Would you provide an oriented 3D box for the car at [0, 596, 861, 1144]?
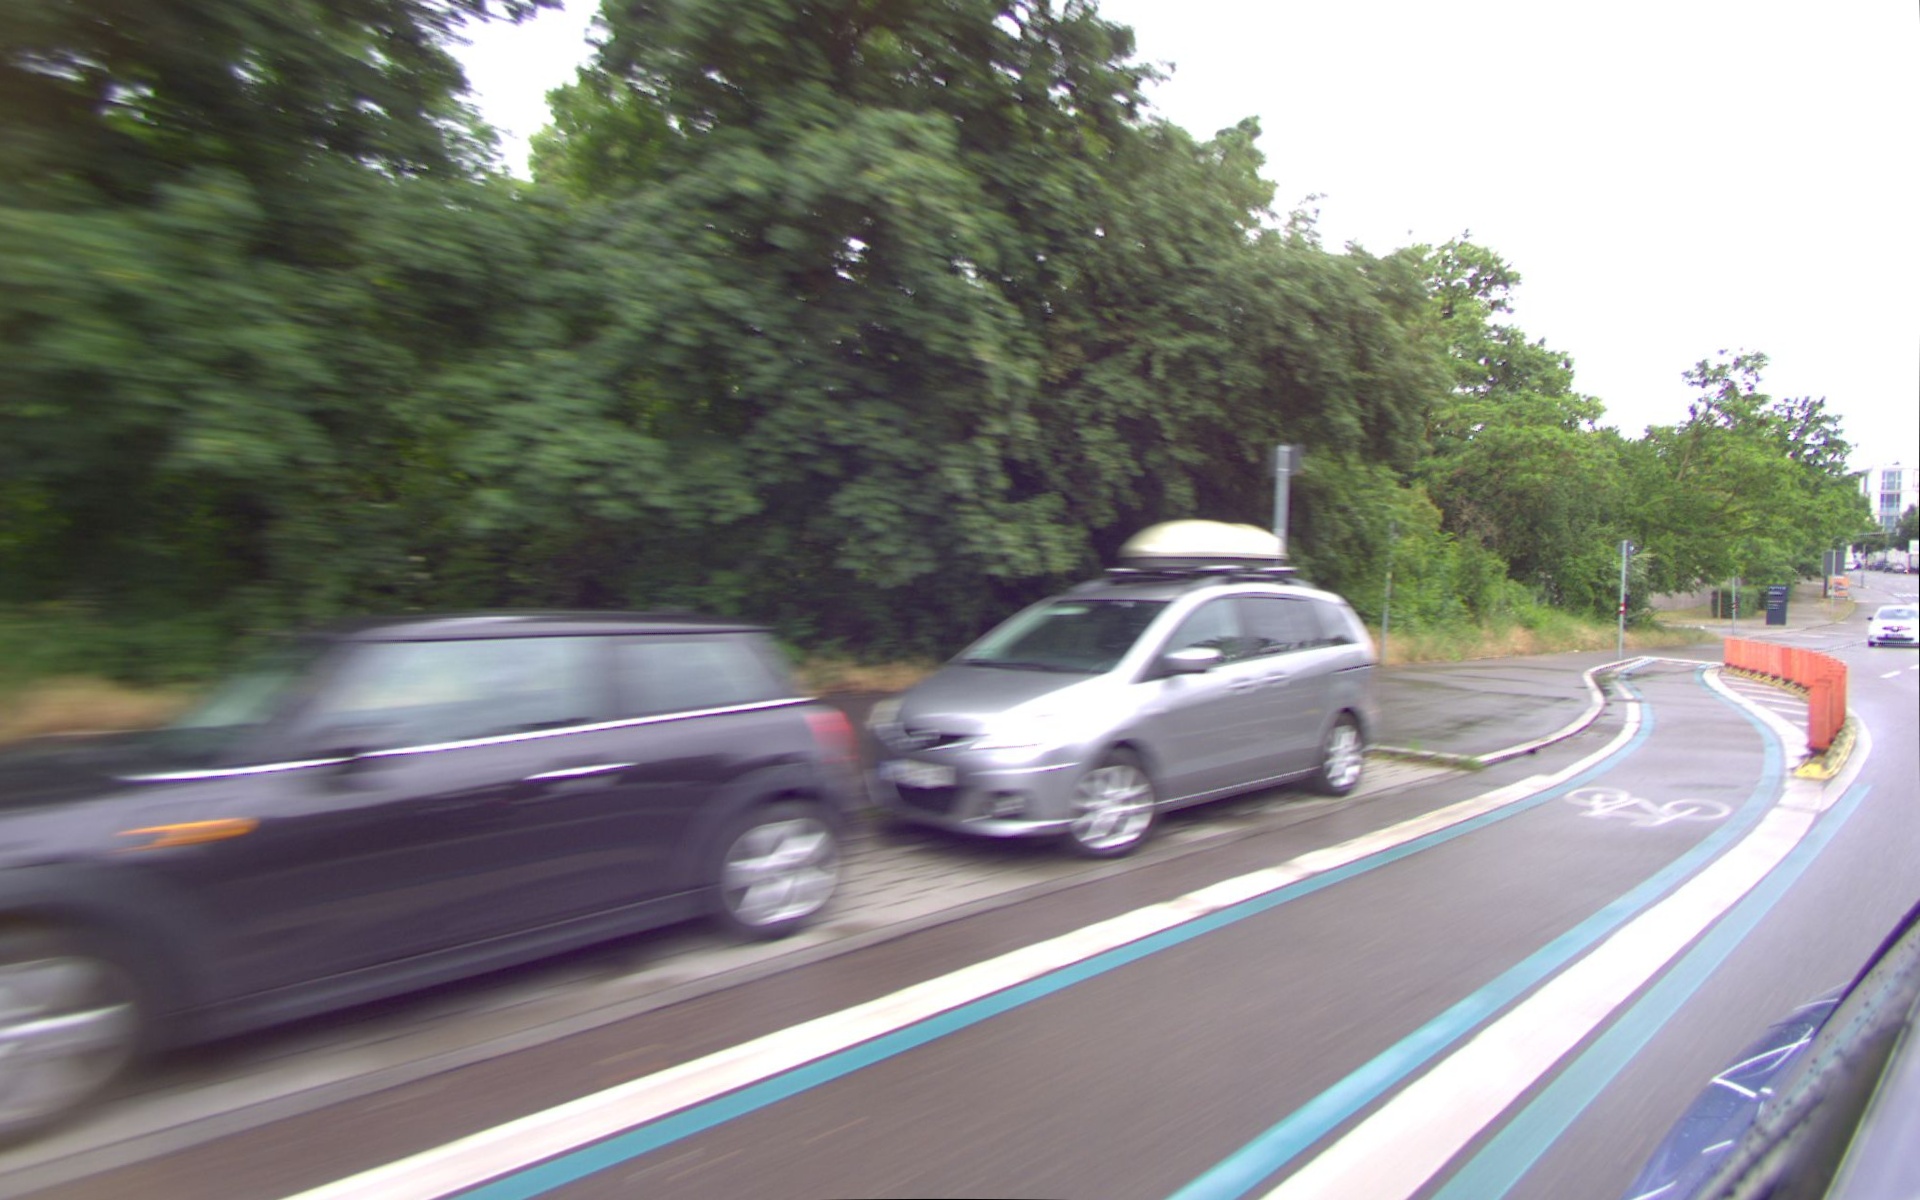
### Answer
[{"bbox_3d":[-2.348,0.709,3.974,3.641,1.431,1.698,0,-1,-43],"label":"car"}]

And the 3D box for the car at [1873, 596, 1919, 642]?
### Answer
[{"bbox_3d":[36.734,0.732,39.084,3.934,1.683,1.924,1,1,-44],"label":"car"}]

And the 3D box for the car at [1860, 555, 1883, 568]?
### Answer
[{"bbox_3d":[153.951,-6.512,170.950,1.908,2.038,4.342,1,2,29],"label":"car"}]

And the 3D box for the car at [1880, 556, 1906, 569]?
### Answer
[{"bbox_3d":[146.841,-5.903,159.270,1.908,2.038,4.342,1,2,29],"label":"car"}]

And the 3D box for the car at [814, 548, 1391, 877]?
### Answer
[{"bbox_3d":[1.216,0.560,7.134,4.180,1.635,1.824,0,-1,-43],"label":"car"}]
